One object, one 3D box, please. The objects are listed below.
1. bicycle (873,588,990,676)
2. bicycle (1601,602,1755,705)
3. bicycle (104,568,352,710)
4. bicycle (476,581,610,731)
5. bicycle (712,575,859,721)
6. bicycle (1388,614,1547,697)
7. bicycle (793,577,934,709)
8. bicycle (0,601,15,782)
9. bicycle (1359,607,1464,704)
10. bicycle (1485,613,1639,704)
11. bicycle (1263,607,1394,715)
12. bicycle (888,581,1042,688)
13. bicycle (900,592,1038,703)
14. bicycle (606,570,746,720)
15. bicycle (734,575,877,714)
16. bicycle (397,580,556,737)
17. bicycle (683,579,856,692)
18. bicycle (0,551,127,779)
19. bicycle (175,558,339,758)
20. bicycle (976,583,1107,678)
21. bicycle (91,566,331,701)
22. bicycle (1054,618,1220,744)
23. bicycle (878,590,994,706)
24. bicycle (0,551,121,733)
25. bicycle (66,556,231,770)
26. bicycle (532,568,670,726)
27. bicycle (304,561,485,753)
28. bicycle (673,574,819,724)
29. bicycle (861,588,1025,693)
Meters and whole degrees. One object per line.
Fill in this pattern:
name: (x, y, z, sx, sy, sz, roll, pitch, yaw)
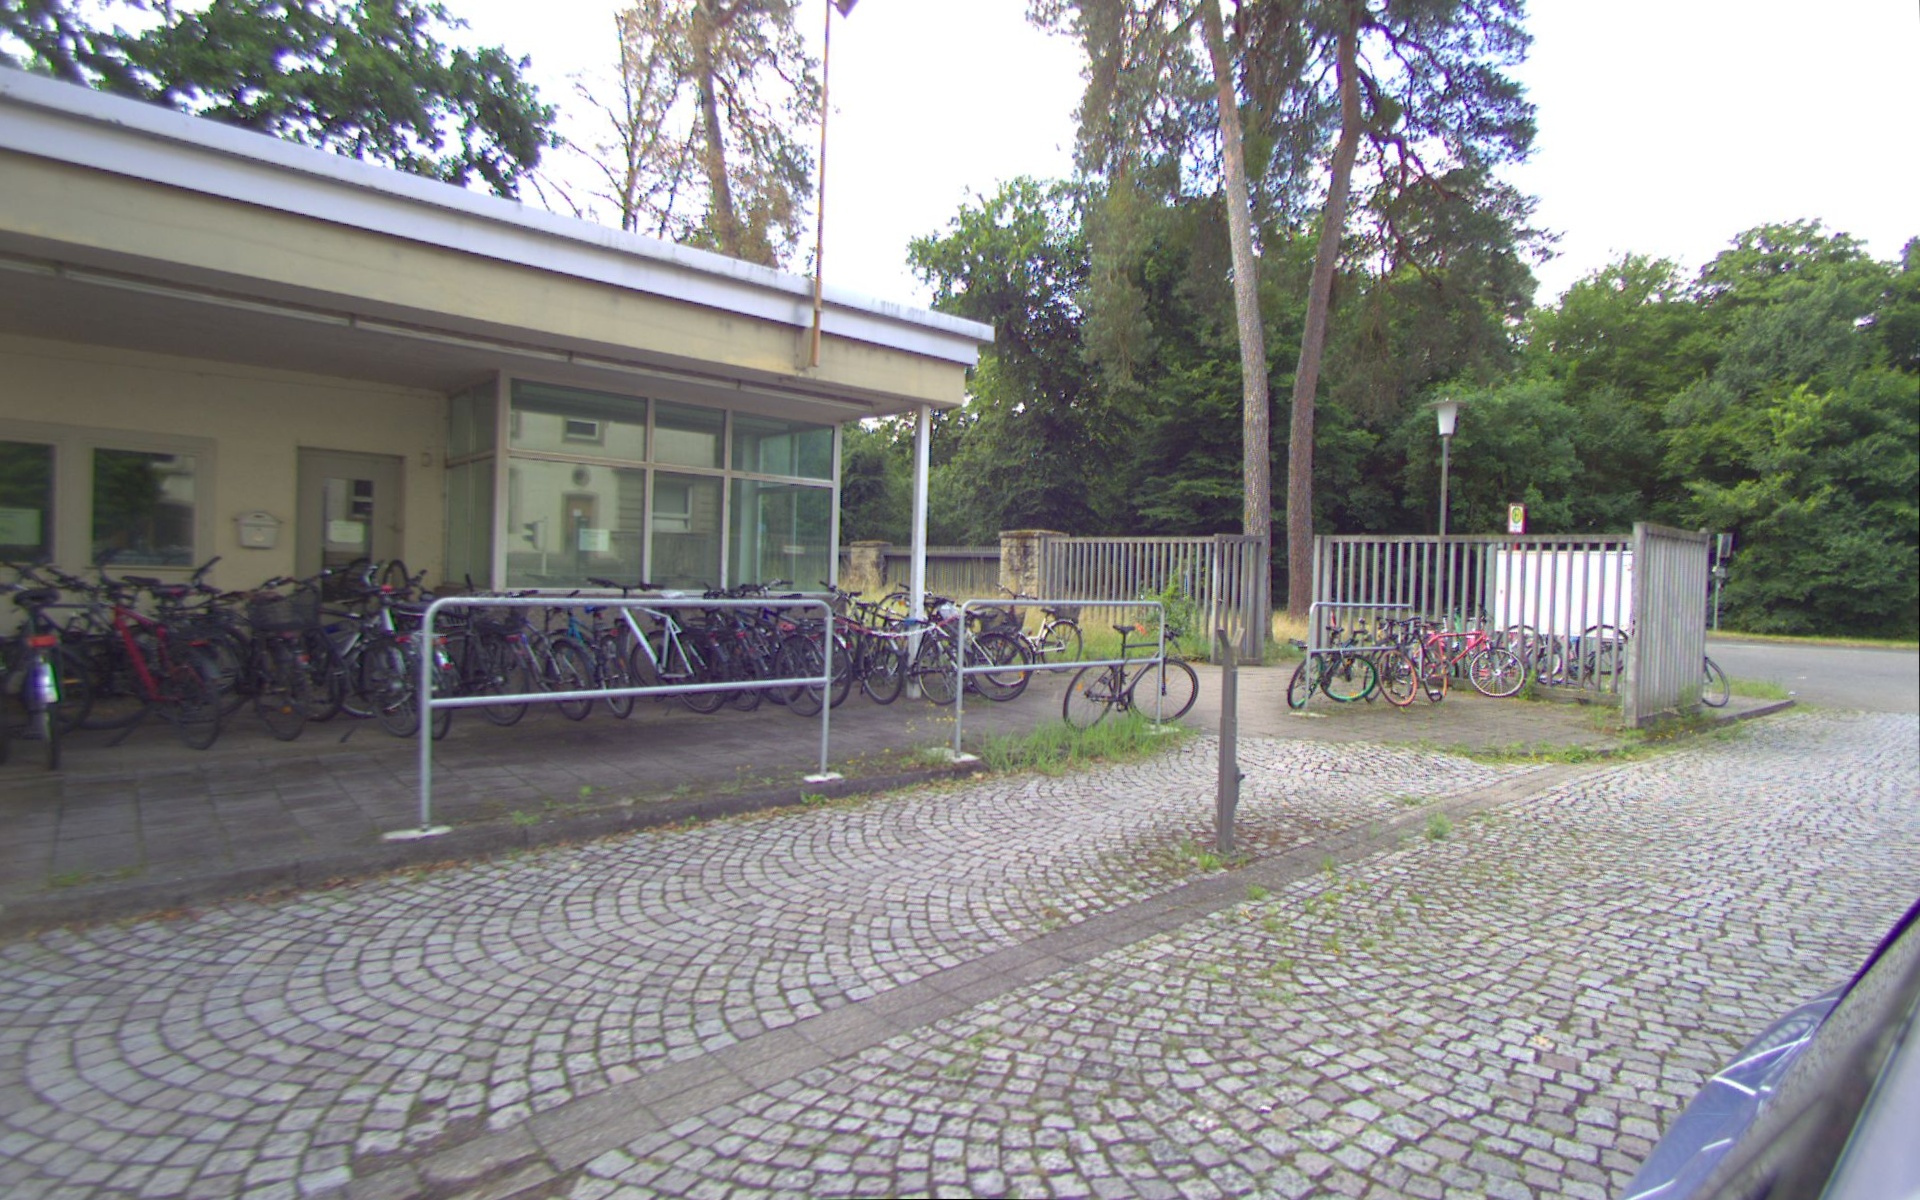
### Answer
bicycle: (-0.350, 0.389, 12.317, 1.328, 1.023, 0.406, 2, 1, -19)
bicycle: (10.011, 0.711, 14.142, 1.649, 1.245, 0.738, 5, 3, 41)
bicycle: (-6.257, 0.301, 8.739, 0.477, 1.089, 1.659, 4, 3, 36)
bicycle: (-3.503, 0.424, 8.427, 1.590, 1.062, 0.320, 5, 3, 41)
bicycle: (-1.612, 0.394, 9.188, 1.612, 1.155, 0.320, 5, 3, 41)
bicycle: (6.975, 0.736, 13.990, 1.863, 0.951, 0.496, 5, 3, 43)
bicycle: (-0.995, 0.390, 10.135, 1.612, 1.155, 0.351, 5, 3, 41)
bicycle: (-6.059, 0.460, 5.709, 1.614, 0.988, 0.321, 4, 2, 18)
bicycle: (5.456, 0.635, 12.188, 1.703, 1.070, 0.473, 1, 2, -42)
bicycle: (8.128, 0.756, 13.736, 0.380, 1.046, 1.730, 1, 3, -40)
bicycle: (4.077, 0.634, 11.166, 1.538, 1.075, 0.691, 1, 2, -42)
bicycle: (0.069, 0.380, 11.635, 1.709, 1.146, 0.474, 2, 1, 4)
bicycle: (0.085, 0.466, 10.481, 1.389, 1.059, 0.337, 2, 1, 22)
bicycle: (-2.542, 0.355, 8.943, 1.612, 1.155, 0.320, 5, 3, 41)
bicycle: (-1.514, 0.388, 9.725, 1.612, 1.155, 0.351, 5, 3, 41)
bicycle: (-3.848, 0.418, 8.001, 1.624, 1.062, 0.330, 5, 2, 34)
bicycle: (-1.994, 0.352, 10.789, 1.801, 1.089, 0.490, 1, 3, -44)
bicycle: (-5.740, 0.334, 6.262, 1.625, 1.204, 0.467, 5, 3, 35)
bicycle: (-4.967, 0.352, 7.115, 1.626, 1.204, 0.414, 5, 3, 36)
bicycle: (1.071, 0.382, 13.155, 1.649, 1.152, 0.649, 1, 1, -36)
bicycle: (-6.685, 0.269, 9.119, 0.477, 1.089, 1.659, 4, 3, 36)
bicycle: (1.586, 0.666, 8.917, 1.627, 0.964, 0.535, 0, 2, -42)
bicycle: (-0.244, 0.461, 10.110, 1.142, 1.076, 0.284, 2, 1, 28)
bicycle: (-6.912, 0.261, 7.711, 1.741, 1.179, 0.598, 5, 3, 44)
bicycle: (-5.373, 0.353, 6.667, 1.626, 1.204, 0.414, 5, 3, 36)
bicycle: (-3.049, 0.354, 8.521, 1.590, 1.155, 0.320, 5, 3, 41)
bicycle: (-4.157, 0.359, 7.394, 1.626, 1.204, 0.492, 5, 3, 36)
bicycle: (-1.927, 0.392, 8.971, 1.612, 1.155, 0.320, 5, 3, 41)
bicycle: (-0.180, 0.422, 11.096, 1.721, 1.059, 0.453, 2, 1, 10)
